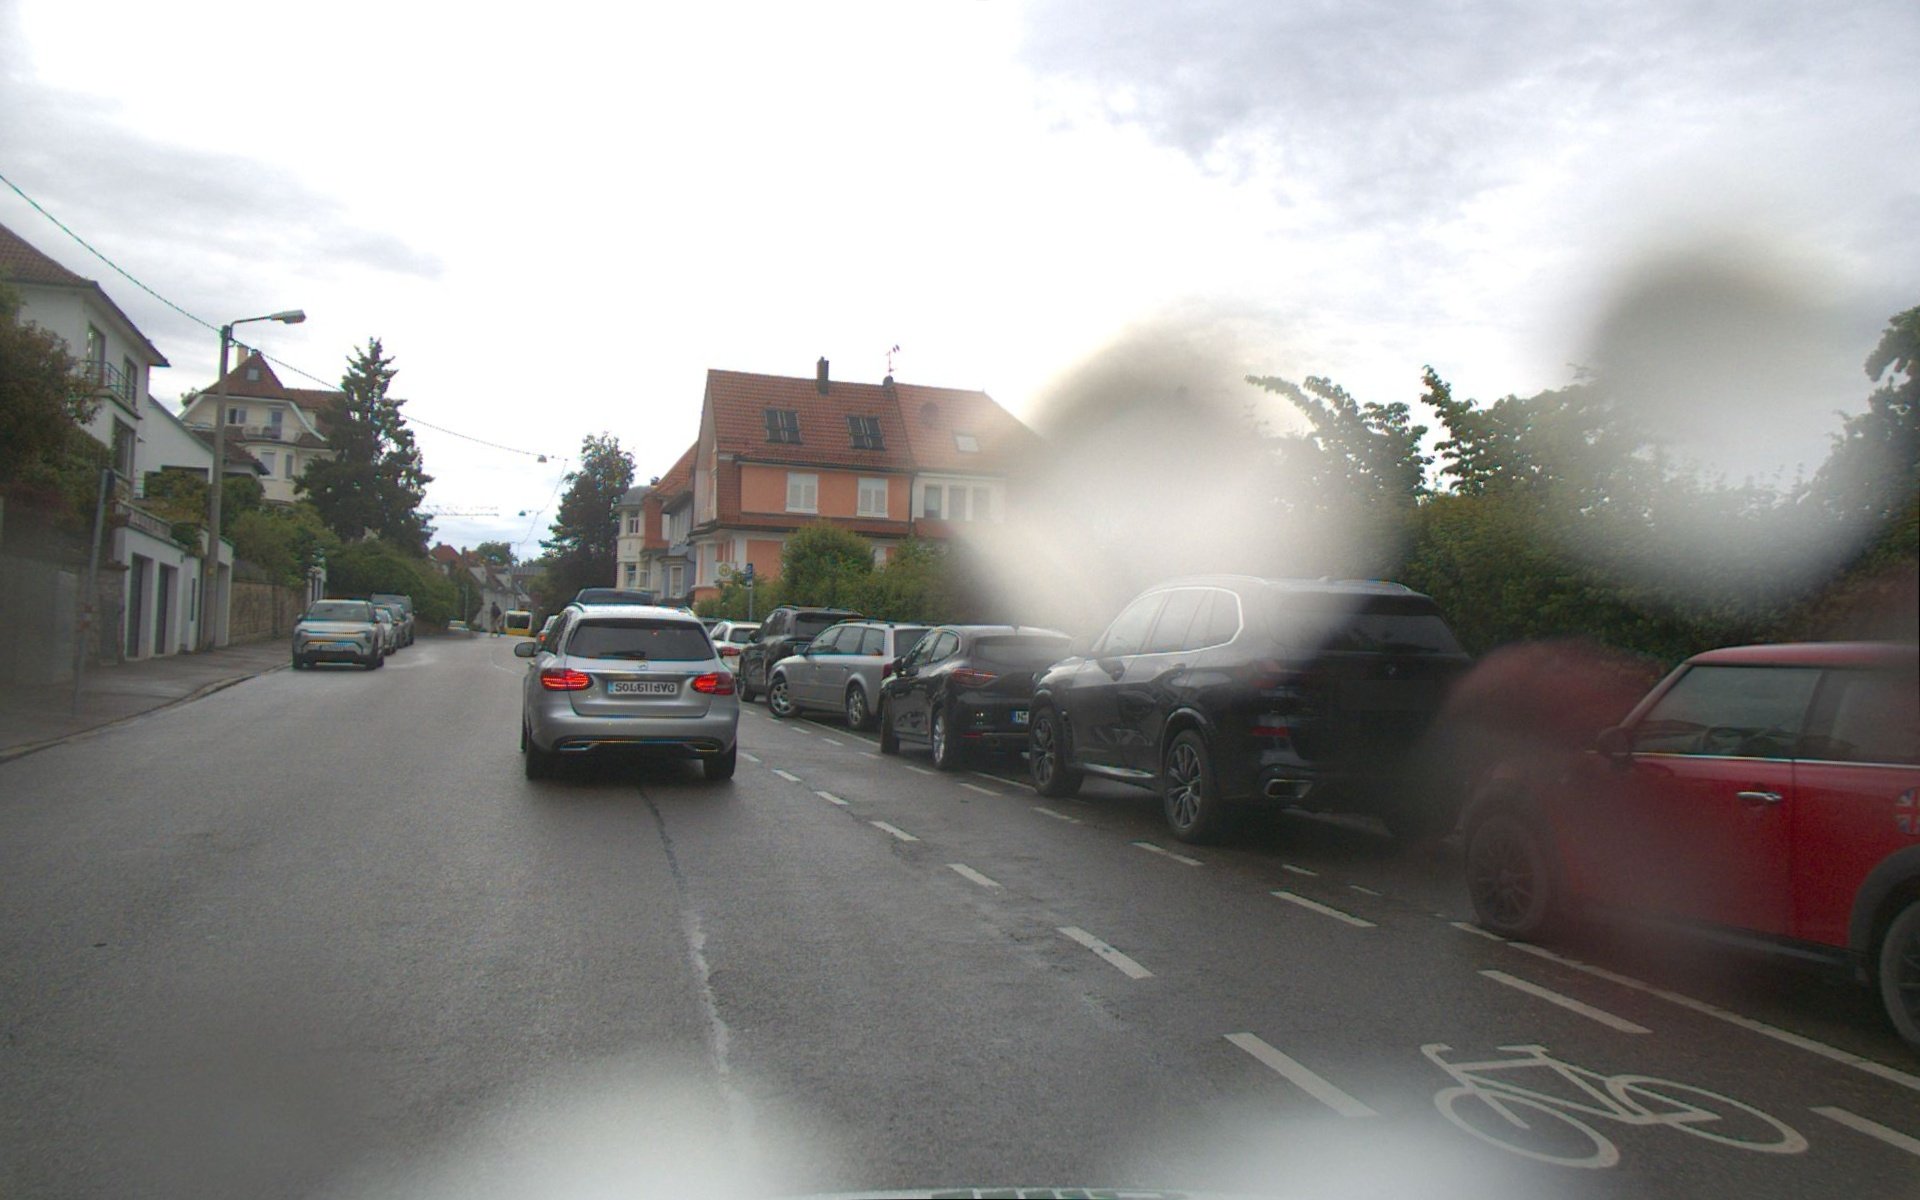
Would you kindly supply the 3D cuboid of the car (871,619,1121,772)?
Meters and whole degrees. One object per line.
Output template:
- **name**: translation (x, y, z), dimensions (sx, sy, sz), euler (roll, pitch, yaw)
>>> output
- **car**: translation (0.260, 0.936, 17.773), dimensions (1.660, 1.447, 3.967), euler (1, -1, -15)

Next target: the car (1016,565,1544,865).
- **car**: translation (2.114, 0.685, 12.630), dimensions (1.994, 1.814, 4.878), euler (1, 0, -16)

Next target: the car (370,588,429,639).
- **car**: translation (-22.595, 0.508, 66.613), dimensions (2.097, 1.892, 5.562), euler (2, -1, -20)

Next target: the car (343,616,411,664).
- **car**: translation (-18.255, 1.243, 51.938), dimensions (1.582, 1.361, 3.827), euler (2, 0, -14)

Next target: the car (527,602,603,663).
- **car**: translation (-10.338, 0.802, 43.157), dimensions (1.823, 1.484, 4.078), euler (0, 0, -15)

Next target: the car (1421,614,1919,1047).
- **car**: translation (3.723, 0.808, 7.040), dimensions (1.645, 1.438, 3.724), euler (0, 0, -18)

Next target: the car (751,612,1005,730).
- **car**: translation (-1.307, 0.957, 23.941), dimensions (1.780, 1.465, 4.596), euler (2, 0, -30)

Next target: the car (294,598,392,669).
- **car**: translation (-14.699, 0.752, 39.594), dimensions (1.867, 1.595, 4.219), euler (0, 0, -16)

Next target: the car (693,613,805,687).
- **car**: translation (-4.650, 1.041, 35.936), dimensions (1.686, 1.430, 4.587), euler (2, 0, -16)

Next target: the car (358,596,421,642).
- **car**: translation (-20.946, 0.683, 60.855), dimensions (1.867, 1.541, 4.323), euler (3, -1, -16)

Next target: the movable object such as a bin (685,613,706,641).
- **movable object such as a bin**: translation (-10.427, 1.064, 65.238), dimensions (0.700, 1.048, 0.754), euler (0, 0, -17)

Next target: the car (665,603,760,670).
- **car**: translation (-6.210, 0.886, 41.185), dimensions (1.726, 1.557, 4.186), euler (2, -1, -16)

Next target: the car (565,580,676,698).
- **car**: translation (-6.252, 0.630, 30.215), dimensions (1.793, 1.915, 4.081), euler (-3, 1, -13)

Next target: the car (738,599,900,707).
- **car**: translation (-2.563, 0.861, 29.000), dimensions (1.857, 1.692, 4.526), euler (2, -1, -17)

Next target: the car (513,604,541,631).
- **car**: translation (-41.465, 1.690, 158.345), dimensions (2.427, 2.442, 3.983), euler (-2, 0, -16)

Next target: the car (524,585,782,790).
- **car**: translation (-2.951, 0.690, 15.147), dimensions (1.950, 1.581, 4.279), euler (1, 0, -16)
